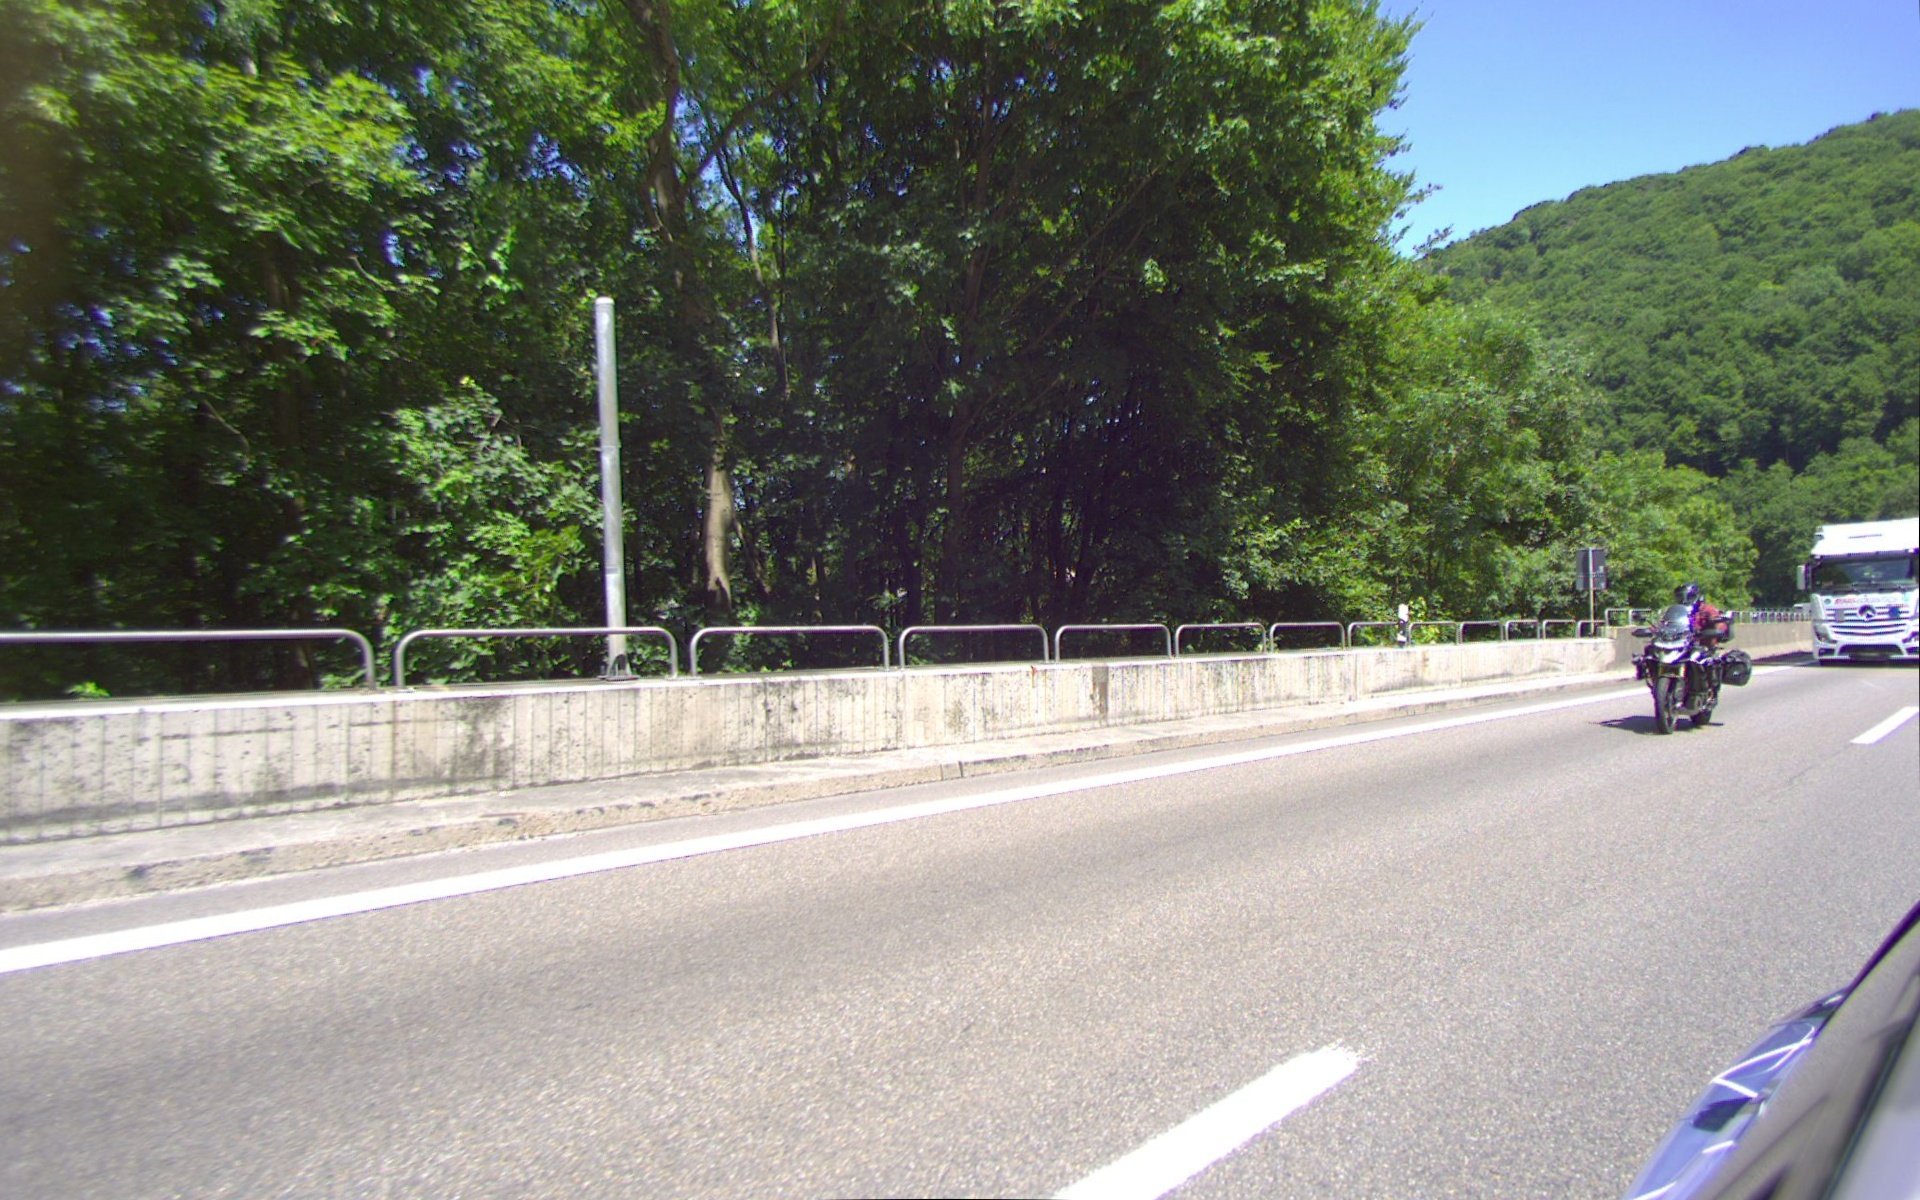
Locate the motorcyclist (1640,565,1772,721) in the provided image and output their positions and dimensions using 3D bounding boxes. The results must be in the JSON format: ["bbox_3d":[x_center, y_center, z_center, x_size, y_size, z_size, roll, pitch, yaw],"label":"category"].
[{"bbox_3d":[9.318,0.502,12.638,1.314,1.823,1.062,1,-1,-41],"label":"motorcyclist"}]

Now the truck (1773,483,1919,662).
[{"bbox_3d":[28.006,-0.607,30.326,16.421,4.187,2.964,0,-3,-42],"label":"truck"}]

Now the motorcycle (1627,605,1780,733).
[{"bbox_3d":[9.357,0.792,12.685,2.633,1.437,0.974,0,0,-40],"label":"motorcycle"}]

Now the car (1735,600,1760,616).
[{"bbox_3d":[103.208,1.060,132.726,1.983,2.039,3.958,-1,-1,29],"label":"car"}]
